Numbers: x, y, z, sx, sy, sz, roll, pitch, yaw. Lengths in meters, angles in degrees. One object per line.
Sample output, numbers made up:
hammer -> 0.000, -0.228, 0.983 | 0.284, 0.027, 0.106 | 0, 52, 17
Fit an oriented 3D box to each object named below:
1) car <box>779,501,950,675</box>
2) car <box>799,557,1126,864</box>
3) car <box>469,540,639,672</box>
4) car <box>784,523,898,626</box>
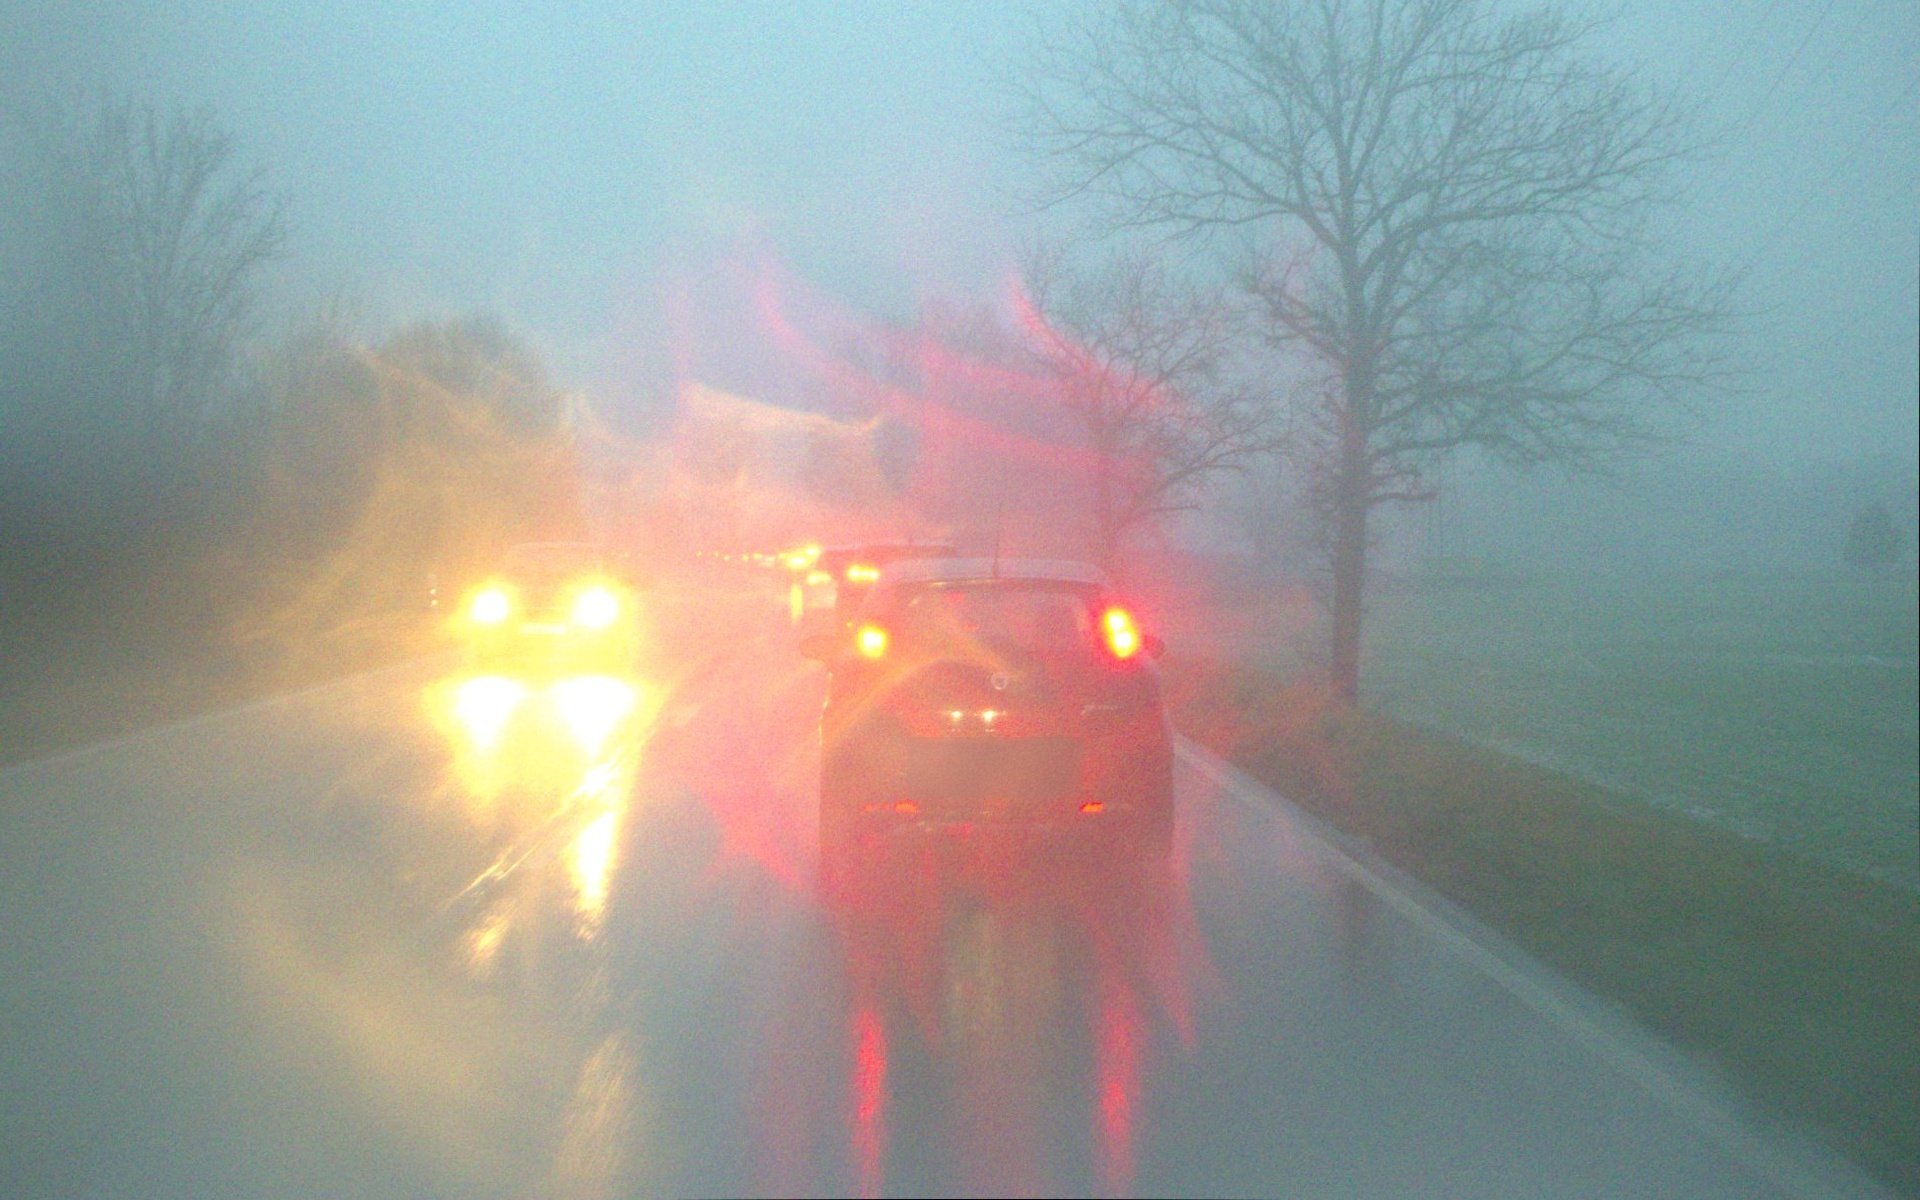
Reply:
car -> -1.117, -0.171, 42.054 | 1.852, 2.007, 4.000 | 1, 1, 1
car -> 0.051, 0.494, 17.592 | 1.500, 1.393, 3.199 | 1, 1, 1
car -> -4.815, 0.037, 41.142 | 1.655, 1.481, 3.670 | 1, 1, -1
car -> -2.043, -0.479, 60.111 | 1.863, 1.694, 4.468 | 1, 1, -1
